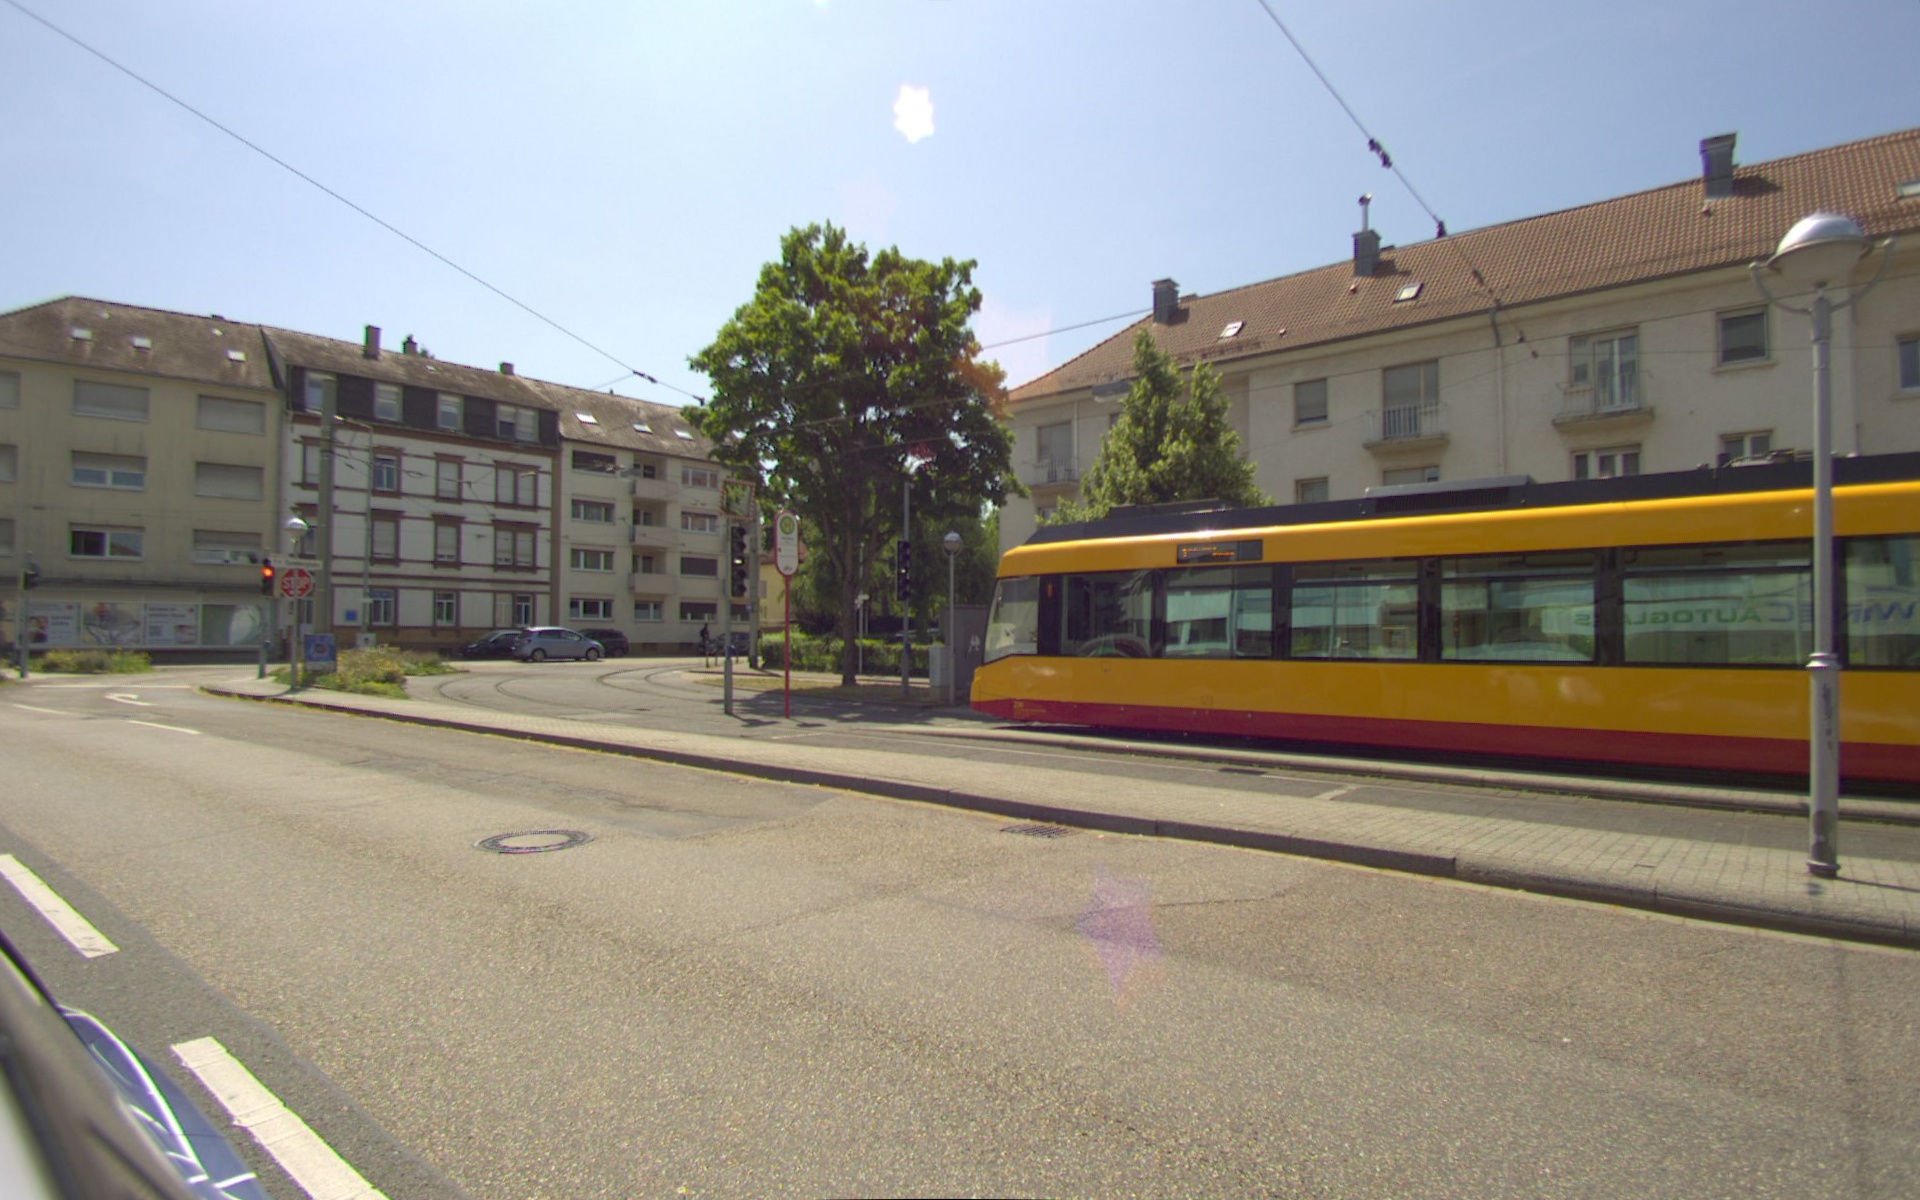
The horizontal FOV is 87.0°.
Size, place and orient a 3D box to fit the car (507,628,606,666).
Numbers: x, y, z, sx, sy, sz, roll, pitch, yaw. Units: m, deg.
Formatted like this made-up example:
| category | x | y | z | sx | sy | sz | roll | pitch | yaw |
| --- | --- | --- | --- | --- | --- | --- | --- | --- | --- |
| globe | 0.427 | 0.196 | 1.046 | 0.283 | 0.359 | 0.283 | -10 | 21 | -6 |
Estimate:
| category | x | y | z | sx | sy | sz | roll | pitch | yaw |
| --- | --- | --- | --- | --- | --- | --- | --- | --- | --- |
| car | -18.903 | 2.166 | 47.486 | 3.938 | 1.630 | 1.762 | 0 | 0 | -42 |

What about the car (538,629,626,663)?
| category | x | y | z | sx | sy | sz | roll | pitch | yaw |
| --- | --- | --- | --- | --- | --- | --- | --- | --- | --- |
| car | -20.213 | 2.422 | 54.202 | 2.000 | 1.597 | 4.013 | 0 | 0 | 43 |

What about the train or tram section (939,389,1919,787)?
| category | x | y | z | sx | sy | sz | roll | pitch | yaw |
| --- | --- | --- | --- | --- | --- | --- | --- | --- | --- |
| train or tram section | 5.475 | 0.006 | 13.443 | 12.702 | 3.522 | 2.933 | -2 | -1 | 40 |

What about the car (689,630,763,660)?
| category | x | y | z | sx | sy | sz | roll | pitch | yaw |
| --- | --- | --- | --- | --- | --- | --- | --- | --- | --- |
| car | -13.991 | 2.670 | 60.717 | 1.814 | 1.597 | 4.013 | -1 | 0 | 43 |

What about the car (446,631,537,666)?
| category | x | y | z | sx | sy | sz | roll | pitch | yaw |
| --- | --- | --- | --- | --- | --- | --- | --- | --- | --- |
| car | -23.541 | 2.399 | 50.938 | 2.000 | 1.597 | 3.706 | 0 | 0 | 43 |

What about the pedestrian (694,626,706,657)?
| category | x | y | z | sx | sy | sz | roll | pitch | yaw |
| --- | --- | --- | --- | --- | --- | --- | --- | --- | --- |
| pedestrian | -15.835 | 2.517 | 61.602 | 0.428 | 1.871 | 0.549 | -1 | 0 | 43 |
